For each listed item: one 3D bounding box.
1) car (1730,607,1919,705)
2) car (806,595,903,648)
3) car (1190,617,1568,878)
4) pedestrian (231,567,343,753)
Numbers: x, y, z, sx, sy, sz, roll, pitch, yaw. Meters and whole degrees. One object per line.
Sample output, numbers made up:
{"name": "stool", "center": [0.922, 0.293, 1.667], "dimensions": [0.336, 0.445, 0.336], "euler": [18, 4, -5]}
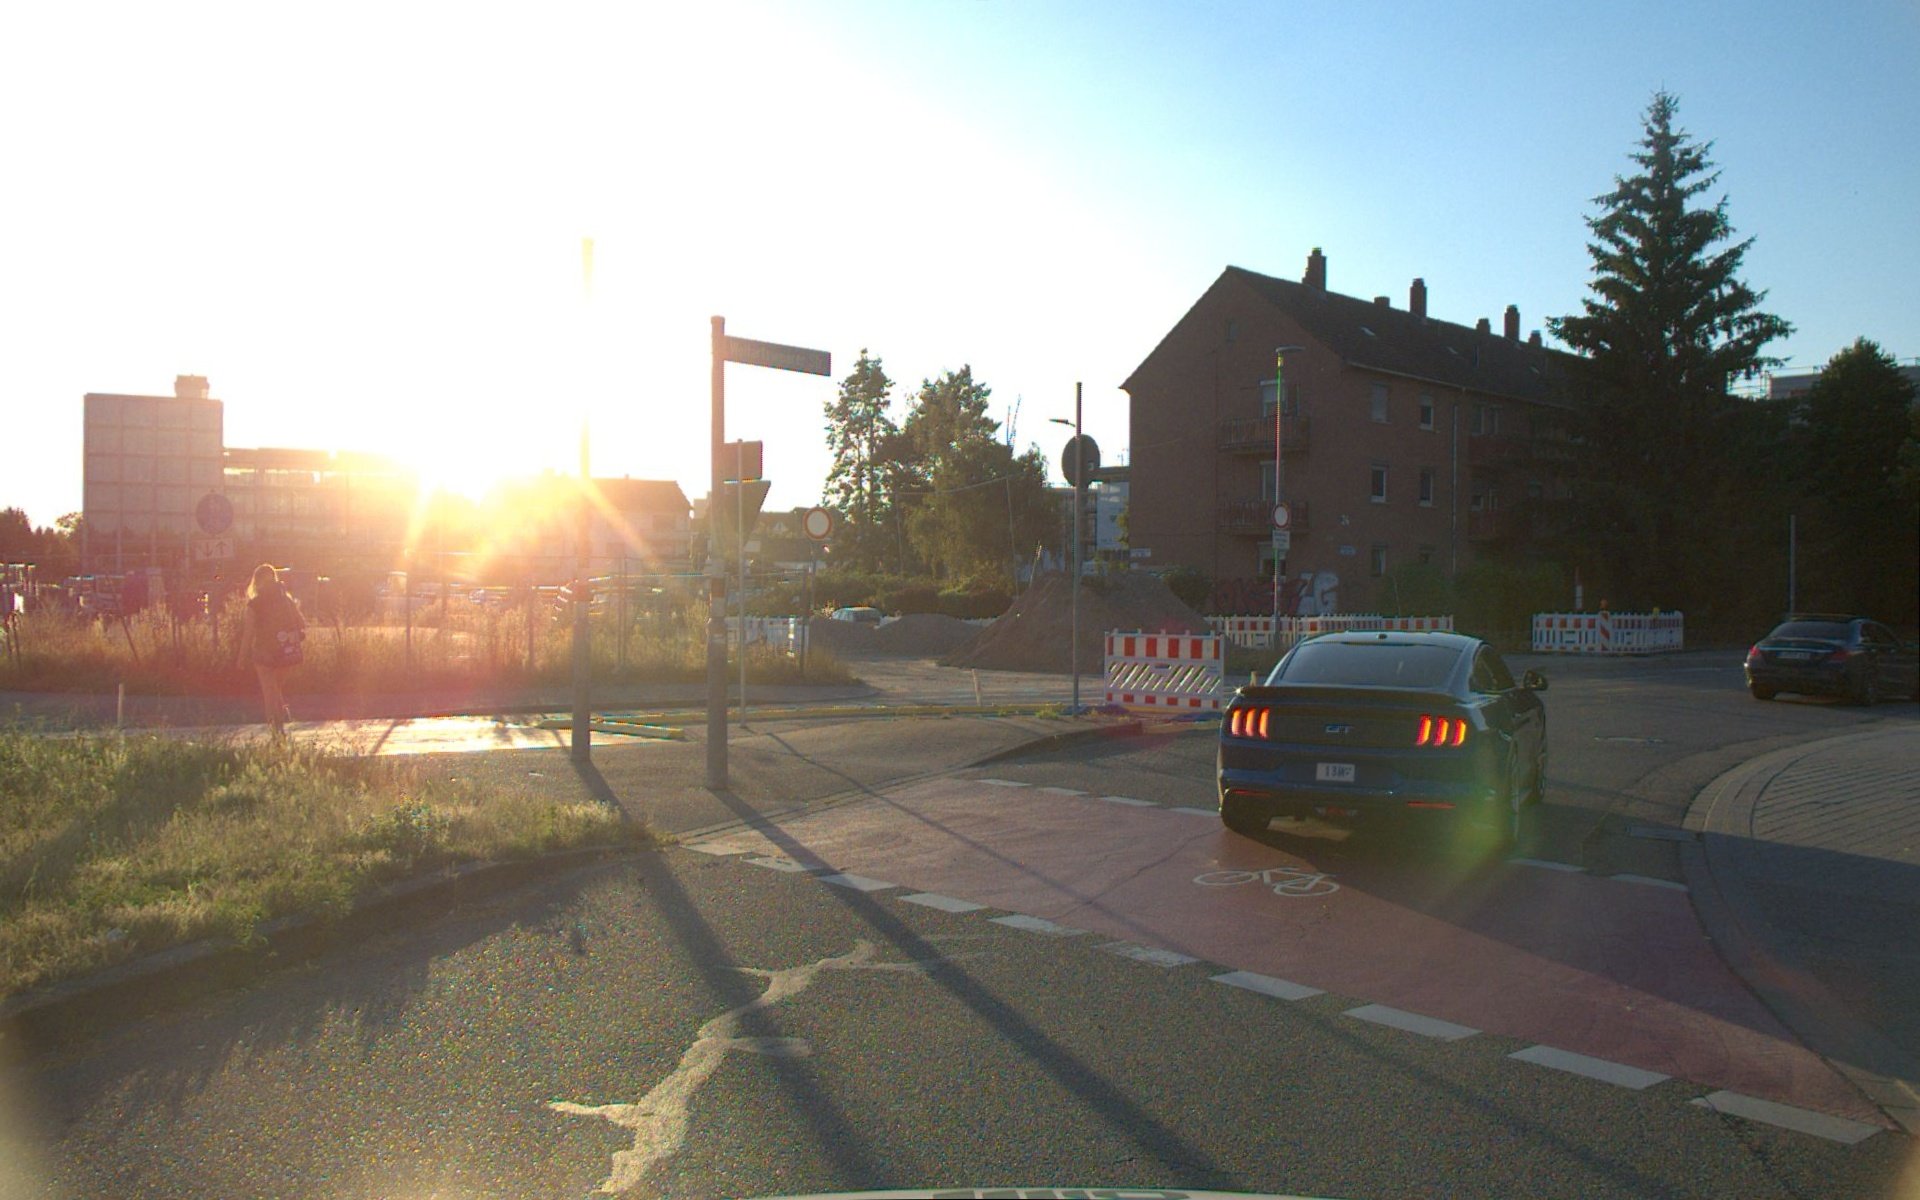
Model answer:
{"name": "car", "center": [14.874, 0.881, 28.011], "dimensions": [4.397, 1.452, 1.926], "euler": [0, 2, -45]}
{"name": "car", "center": [-3.719, 0.724, 57.691], "dimensions": [1.970, 1.736, 3.964], "euler": [1, 0, -27]}
{"name": "car", "center": [3.237, 0.870, 11.994], "dimensions": [1.912, 1.365, 4.669], "euler": [1, 1, 24]}
{"name": "pedestrian", "center": [-6.429, 0.547, 15.799], "dimensions": [0.836, 1.716, 0.877], "euler": [0, 0, -33]}
